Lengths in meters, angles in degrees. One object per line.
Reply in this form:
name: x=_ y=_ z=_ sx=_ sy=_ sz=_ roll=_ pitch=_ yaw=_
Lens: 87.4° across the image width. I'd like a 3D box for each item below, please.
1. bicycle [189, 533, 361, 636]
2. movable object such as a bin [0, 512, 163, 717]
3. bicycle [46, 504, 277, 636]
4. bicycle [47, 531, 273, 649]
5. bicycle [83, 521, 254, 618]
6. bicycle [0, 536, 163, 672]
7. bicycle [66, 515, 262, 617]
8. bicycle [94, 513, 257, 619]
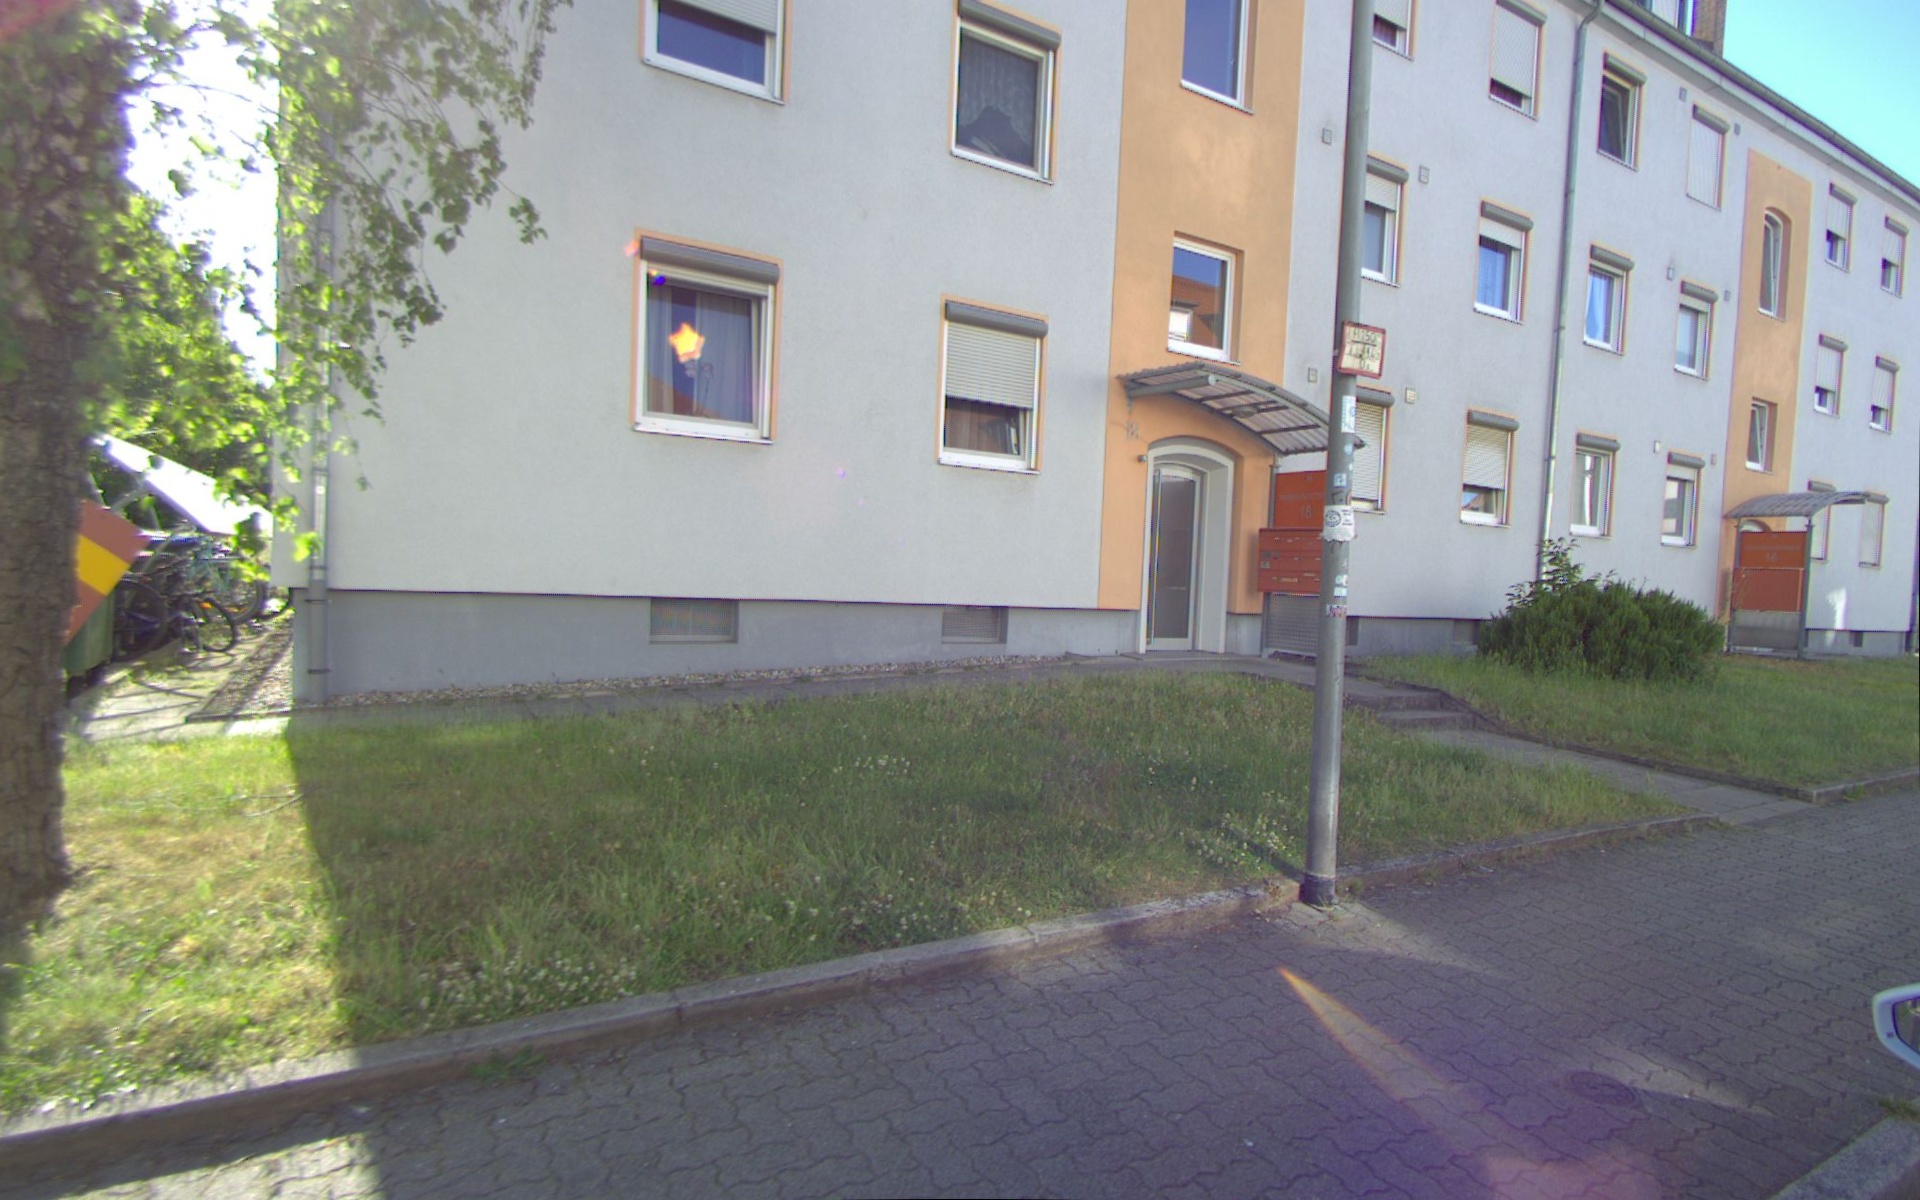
bicycle: x=-8.691 y=-0.174 z=12.826 sx=1.769 sy=1.252 sz=0.466 roll=1 pitch=0 yaw=-31
movable object such as a bin: x=-6.661 y=0.055 z=7.262 sx=1.214 sy=1.354 sz=1.380 roll=1 pitch=3 yaw=-31
bicycle: x=-9.086 y=-0.312 z=11.542 sx=1.990 sy=1.416 sz=0.614 roll=1 pitch=0 yaw=-31
bicycle: x=-8.396 y=-0.087 z=10.632 sx=1.815 sy=1.169 sz=0.427 roll=1 pitch=0 yaw=-31
bicycle: x=-10.675 y=-0.389 z=13.615 sx=1.750 sy=1.235 sz=0.499 roll=1 pitch=0 yaw=-31
bicycle: x=-8.039 y=0.025 z=8.610 sx=1.828 sy=1.132 sz=0.529 roll=1 pitch=3 yaw=-31
bicycle: x=-10.284 y=-0.412 z=13.068 sx=1.922 sy=1.251 sz=0.524 roll=1 pitch=0 yaw=-31
bicycle: x=-10.940 y=-0.445 z=14.074 sx=1.738 sy=1.416 sz=0.462 roll=1 pitch=0 yaw=-31
